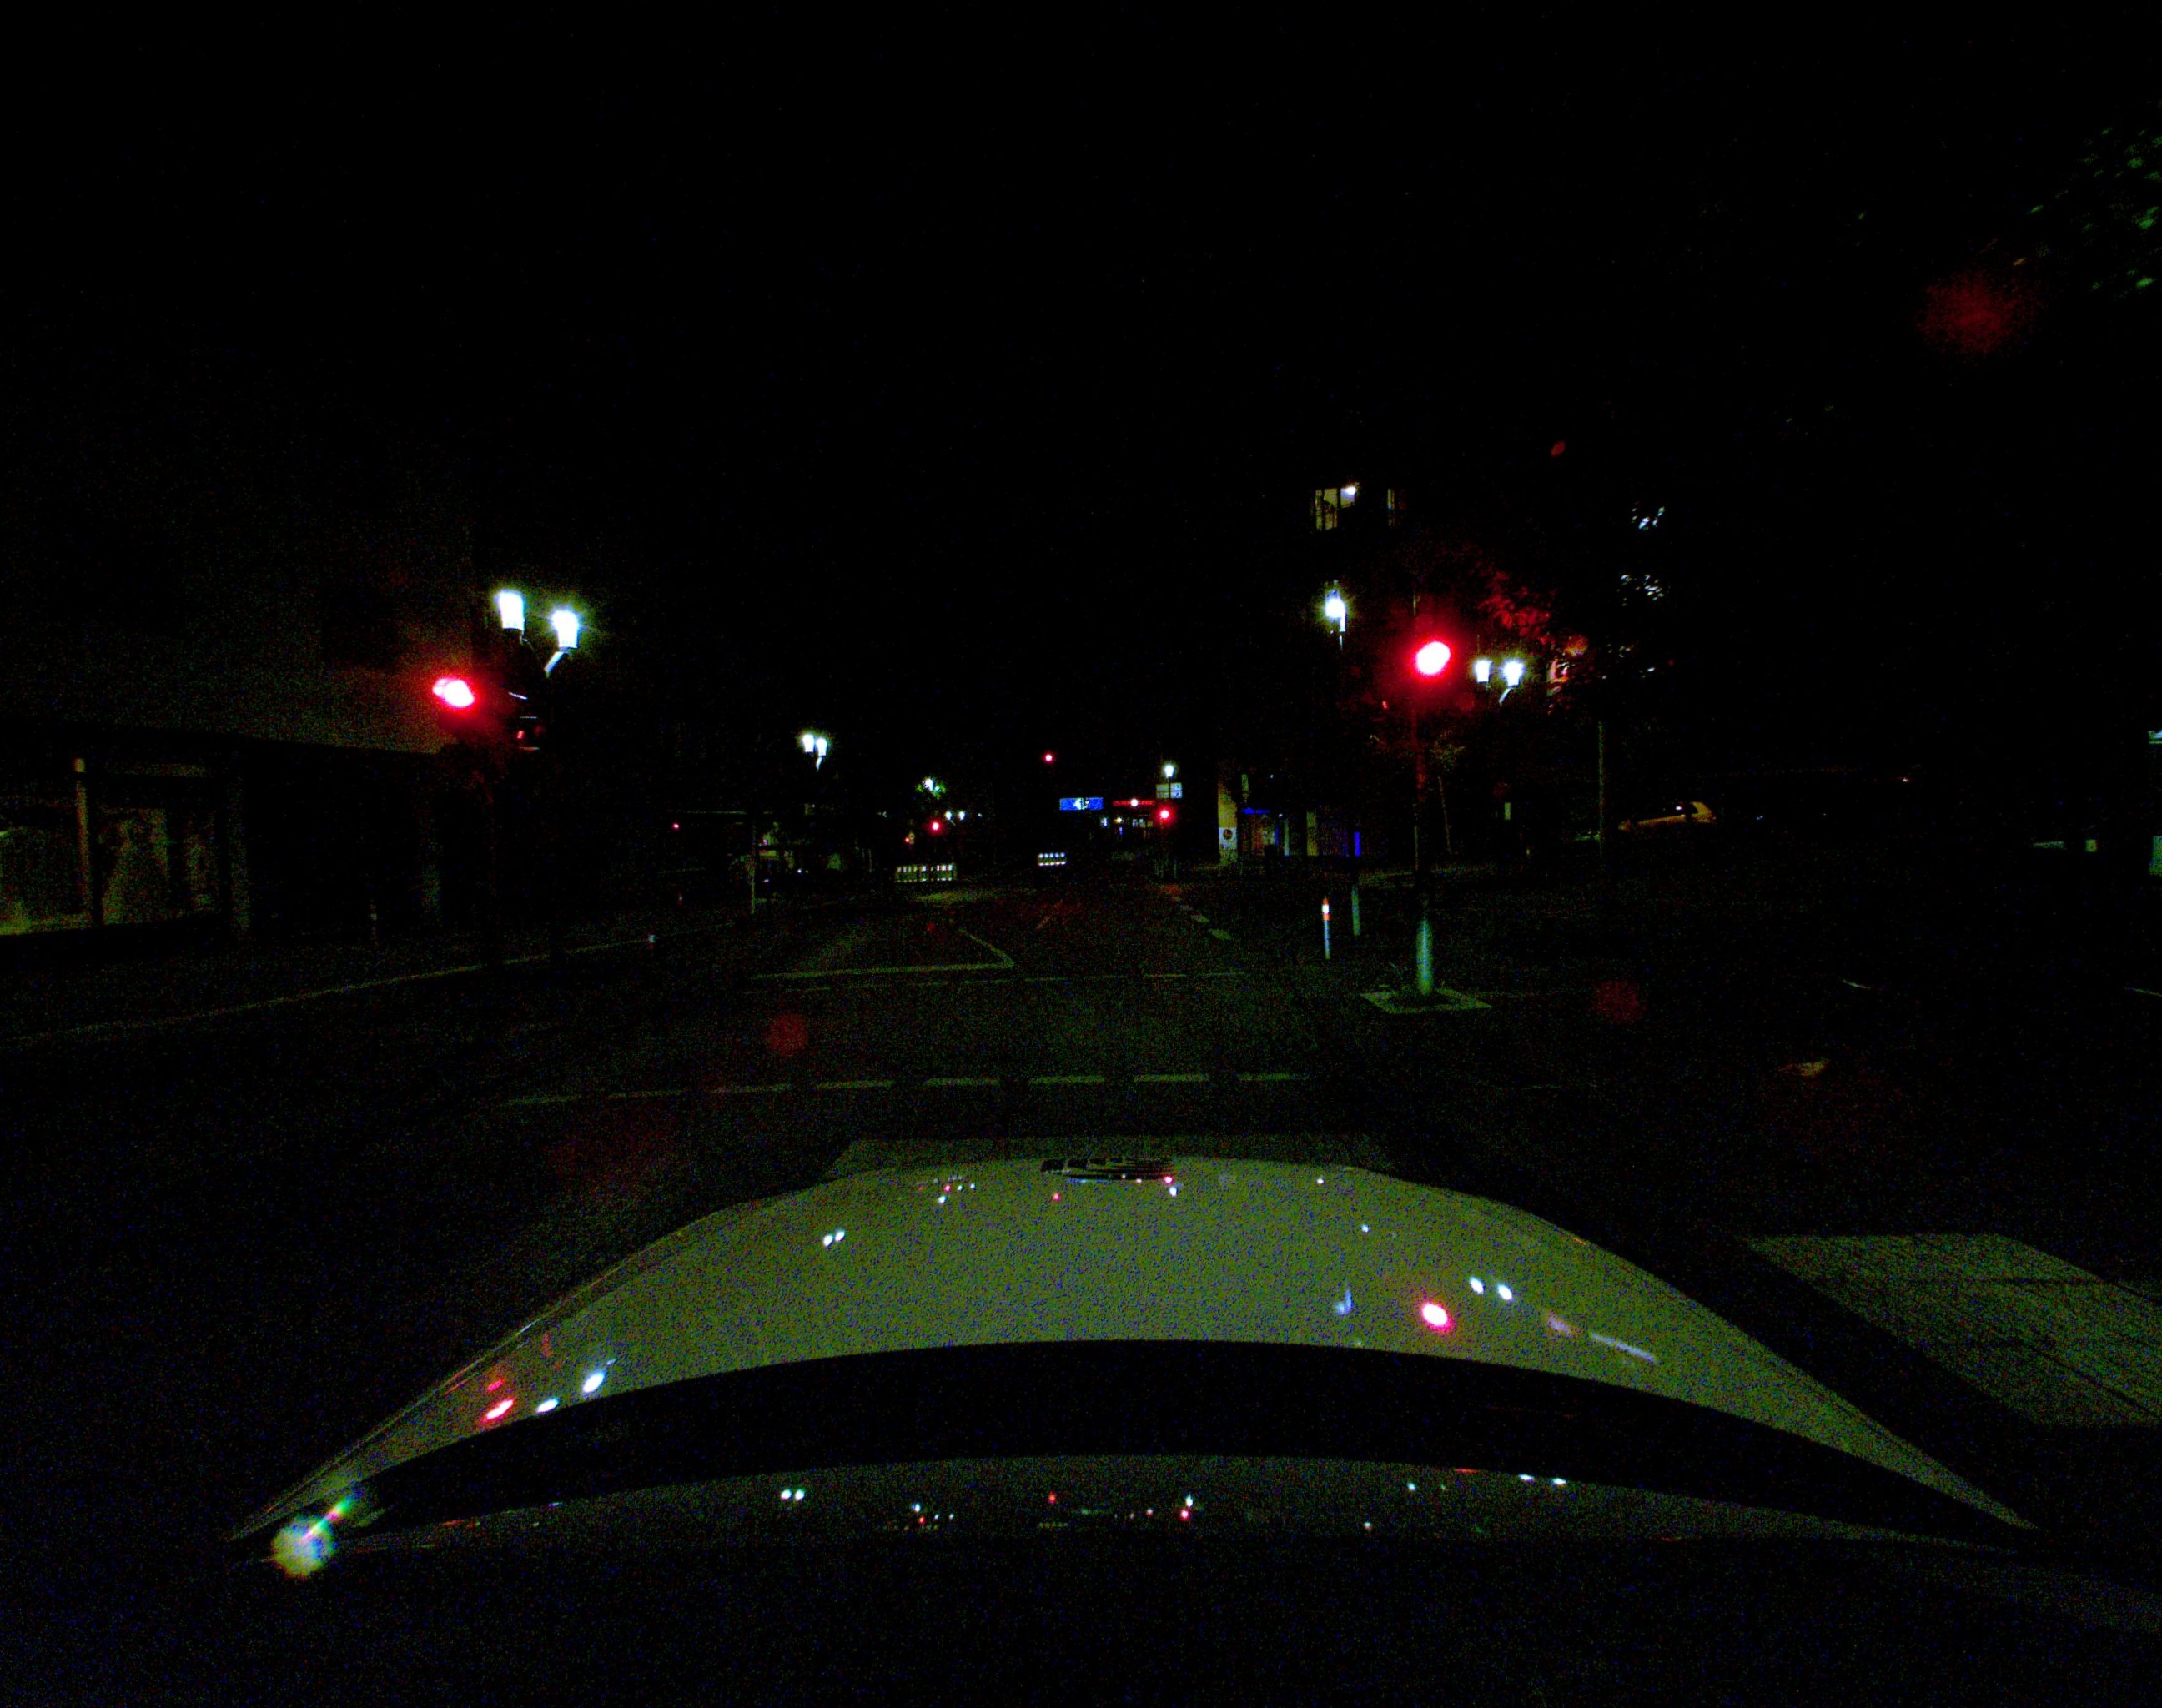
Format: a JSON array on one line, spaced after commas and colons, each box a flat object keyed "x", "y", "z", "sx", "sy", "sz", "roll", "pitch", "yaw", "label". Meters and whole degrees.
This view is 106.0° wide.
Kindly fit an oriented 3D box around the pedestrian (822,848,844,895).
[{"x": -9.622, "y": 0.673, "z": 31.608, "sx": 0.716, "sy": 1.795, "sz": 0.567, "roll": 0, "pitch": -2, "yaw": -11, "label": "pedestrian"}]

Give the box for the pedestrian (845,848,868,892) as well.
[{"x": -9.114, "y": 0.651, "z": 33.096, "sx": 0.712, "sy": 1.795, "sz": 0.571, "roll": -1, "pitch": -2, "yaw": 8, "label": "pedestrian"}]

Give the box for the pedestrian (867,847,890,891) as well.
[{"x": -8.340, "y": 0.624, "z": 33.558, "sx": 0.712, "sy": 1.795, "sz": 0.571, "roll": -1, "pitch": -2, "yaw": 8, "label": "pedestrian"}]

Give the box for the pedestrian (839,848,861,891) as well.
[{"x": -9.716, "y": 0.670, "z": 34.304, "sx": 0.712, "sy": 1.795, "sz": 0.571, "roll": -1, "pitch": -2, "yaw": 8, "label": "pedestrian"}]

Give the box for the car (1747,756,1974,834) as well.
[{"x": 23.338, "y": -1.687, "z": 24.734, "sx": 4.783, "sy": 1.910, "sz": 2.172, "roll": -2, "pitch": -2, "yaw": 39, "label": "car"}]

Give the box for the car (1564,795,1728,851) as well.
[{"x": 18.518, "y": -0.997, "z": 26.868, "sx": 4.019, "sy": 1.452, "sz": 1.830, "roll": -4, "pitch": 0, "yaw": 8, "label": "car"}]

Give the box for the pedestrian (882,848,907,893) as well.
[{"x": -7.640, "y": 0.671, "z": 33.361, "sx": 0.709, "sy": 1.795, "sz": 0.741, "roll": -1, "pitch": -2, "yaw": 23, "label": "pedestrian"}]

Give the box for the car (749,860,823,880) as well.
[{"x": -19.900, "y": 1.110, "z": 55.077, "sx": 4.404, "sy": 1.297, "sz": 1.641, "roll": -1, "pitch": -1, "yaw": -1, "label": "car"}]
